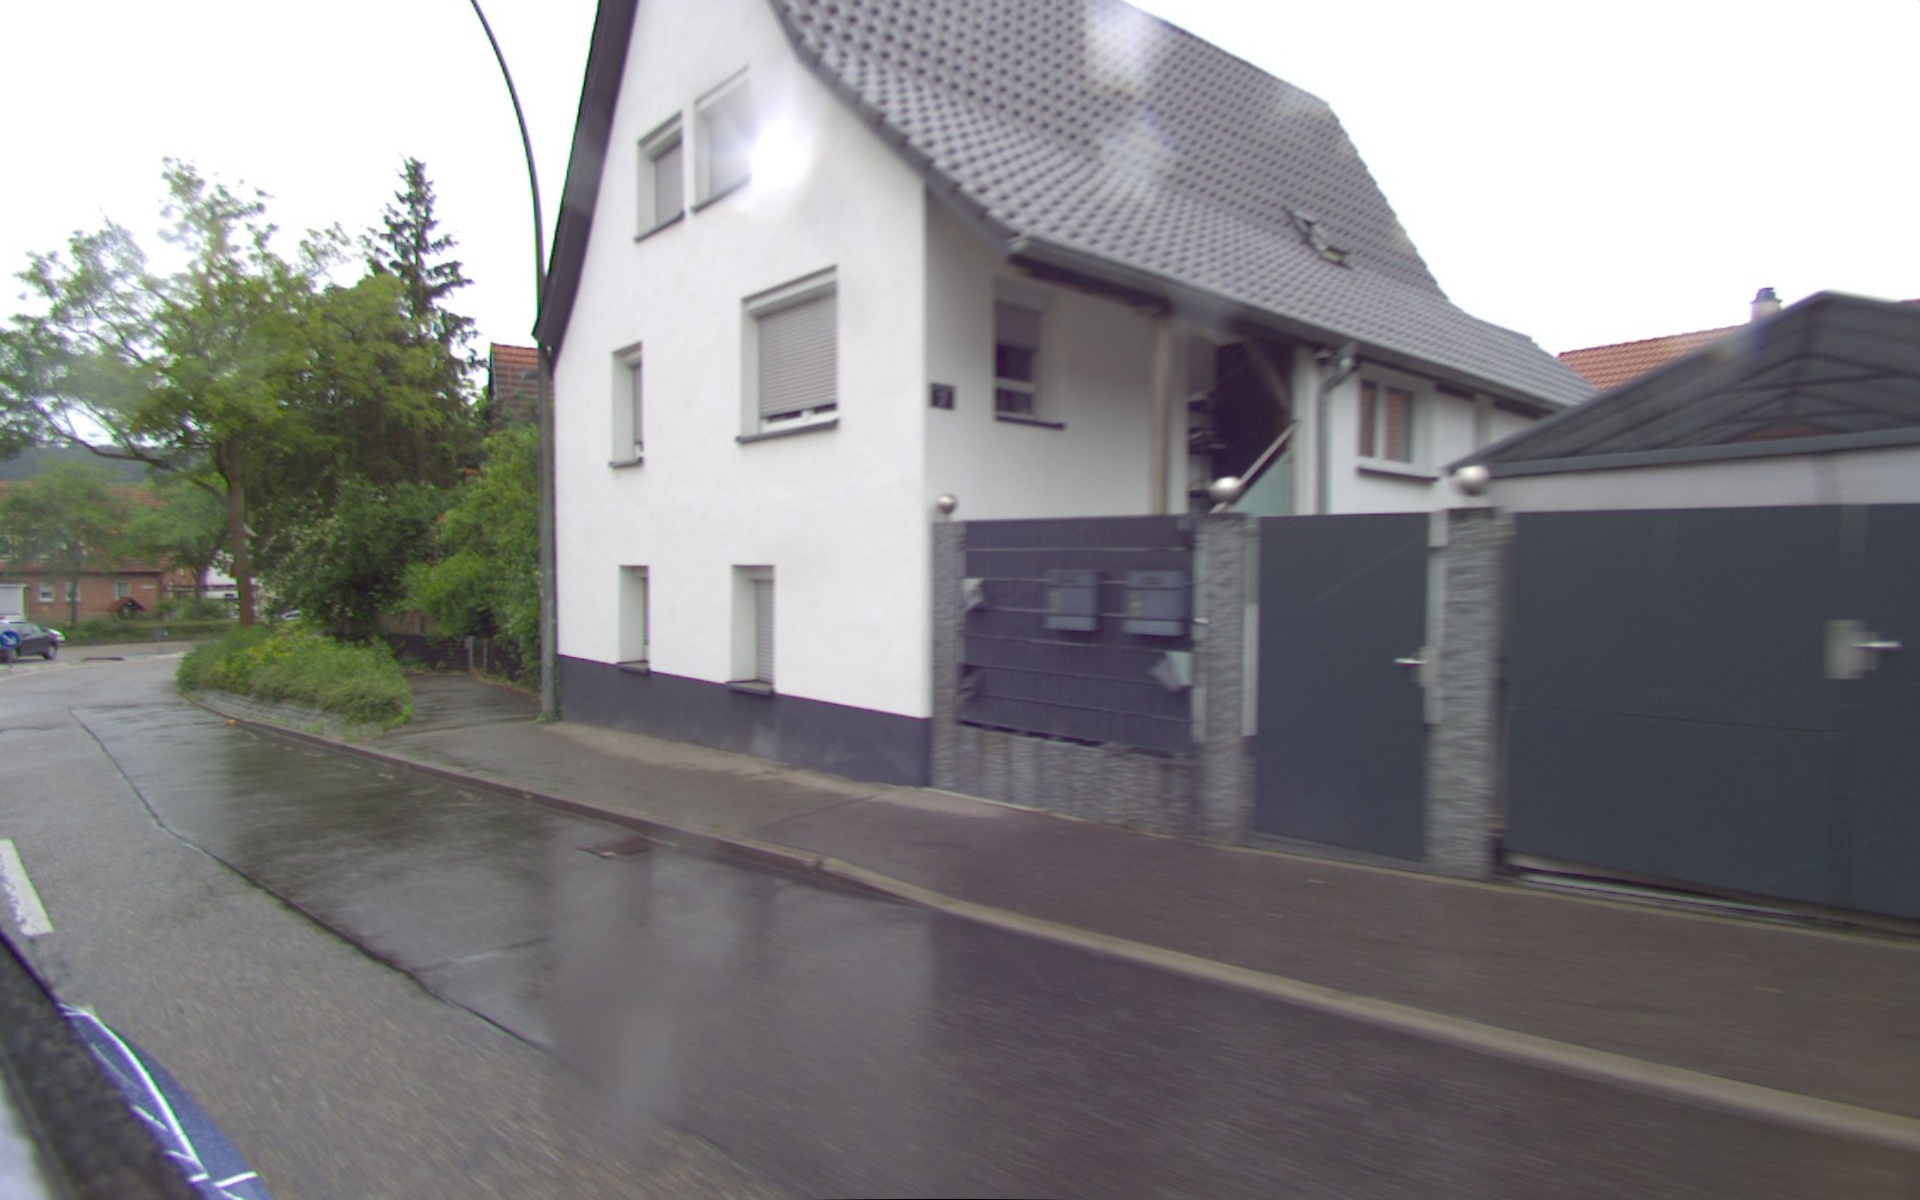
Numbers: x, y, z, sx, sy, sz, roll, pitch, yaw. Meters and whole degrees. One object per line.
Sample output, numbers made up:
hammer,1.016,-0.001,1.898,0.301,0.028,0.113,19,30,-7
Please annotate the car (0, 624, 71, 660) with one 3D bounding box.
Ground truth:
car,-45.066,2.018,48.038,4.088,1.547,1.759,-1,1,-4

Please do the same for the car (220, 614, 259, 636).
car,-53.527,1.809,75.235,1.574,1.507,4.013,-2,0,-24

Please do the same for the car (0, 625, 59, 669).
car,-37.719,1.847,39.657,1.966,1.541,4.011,-1,1,-15
